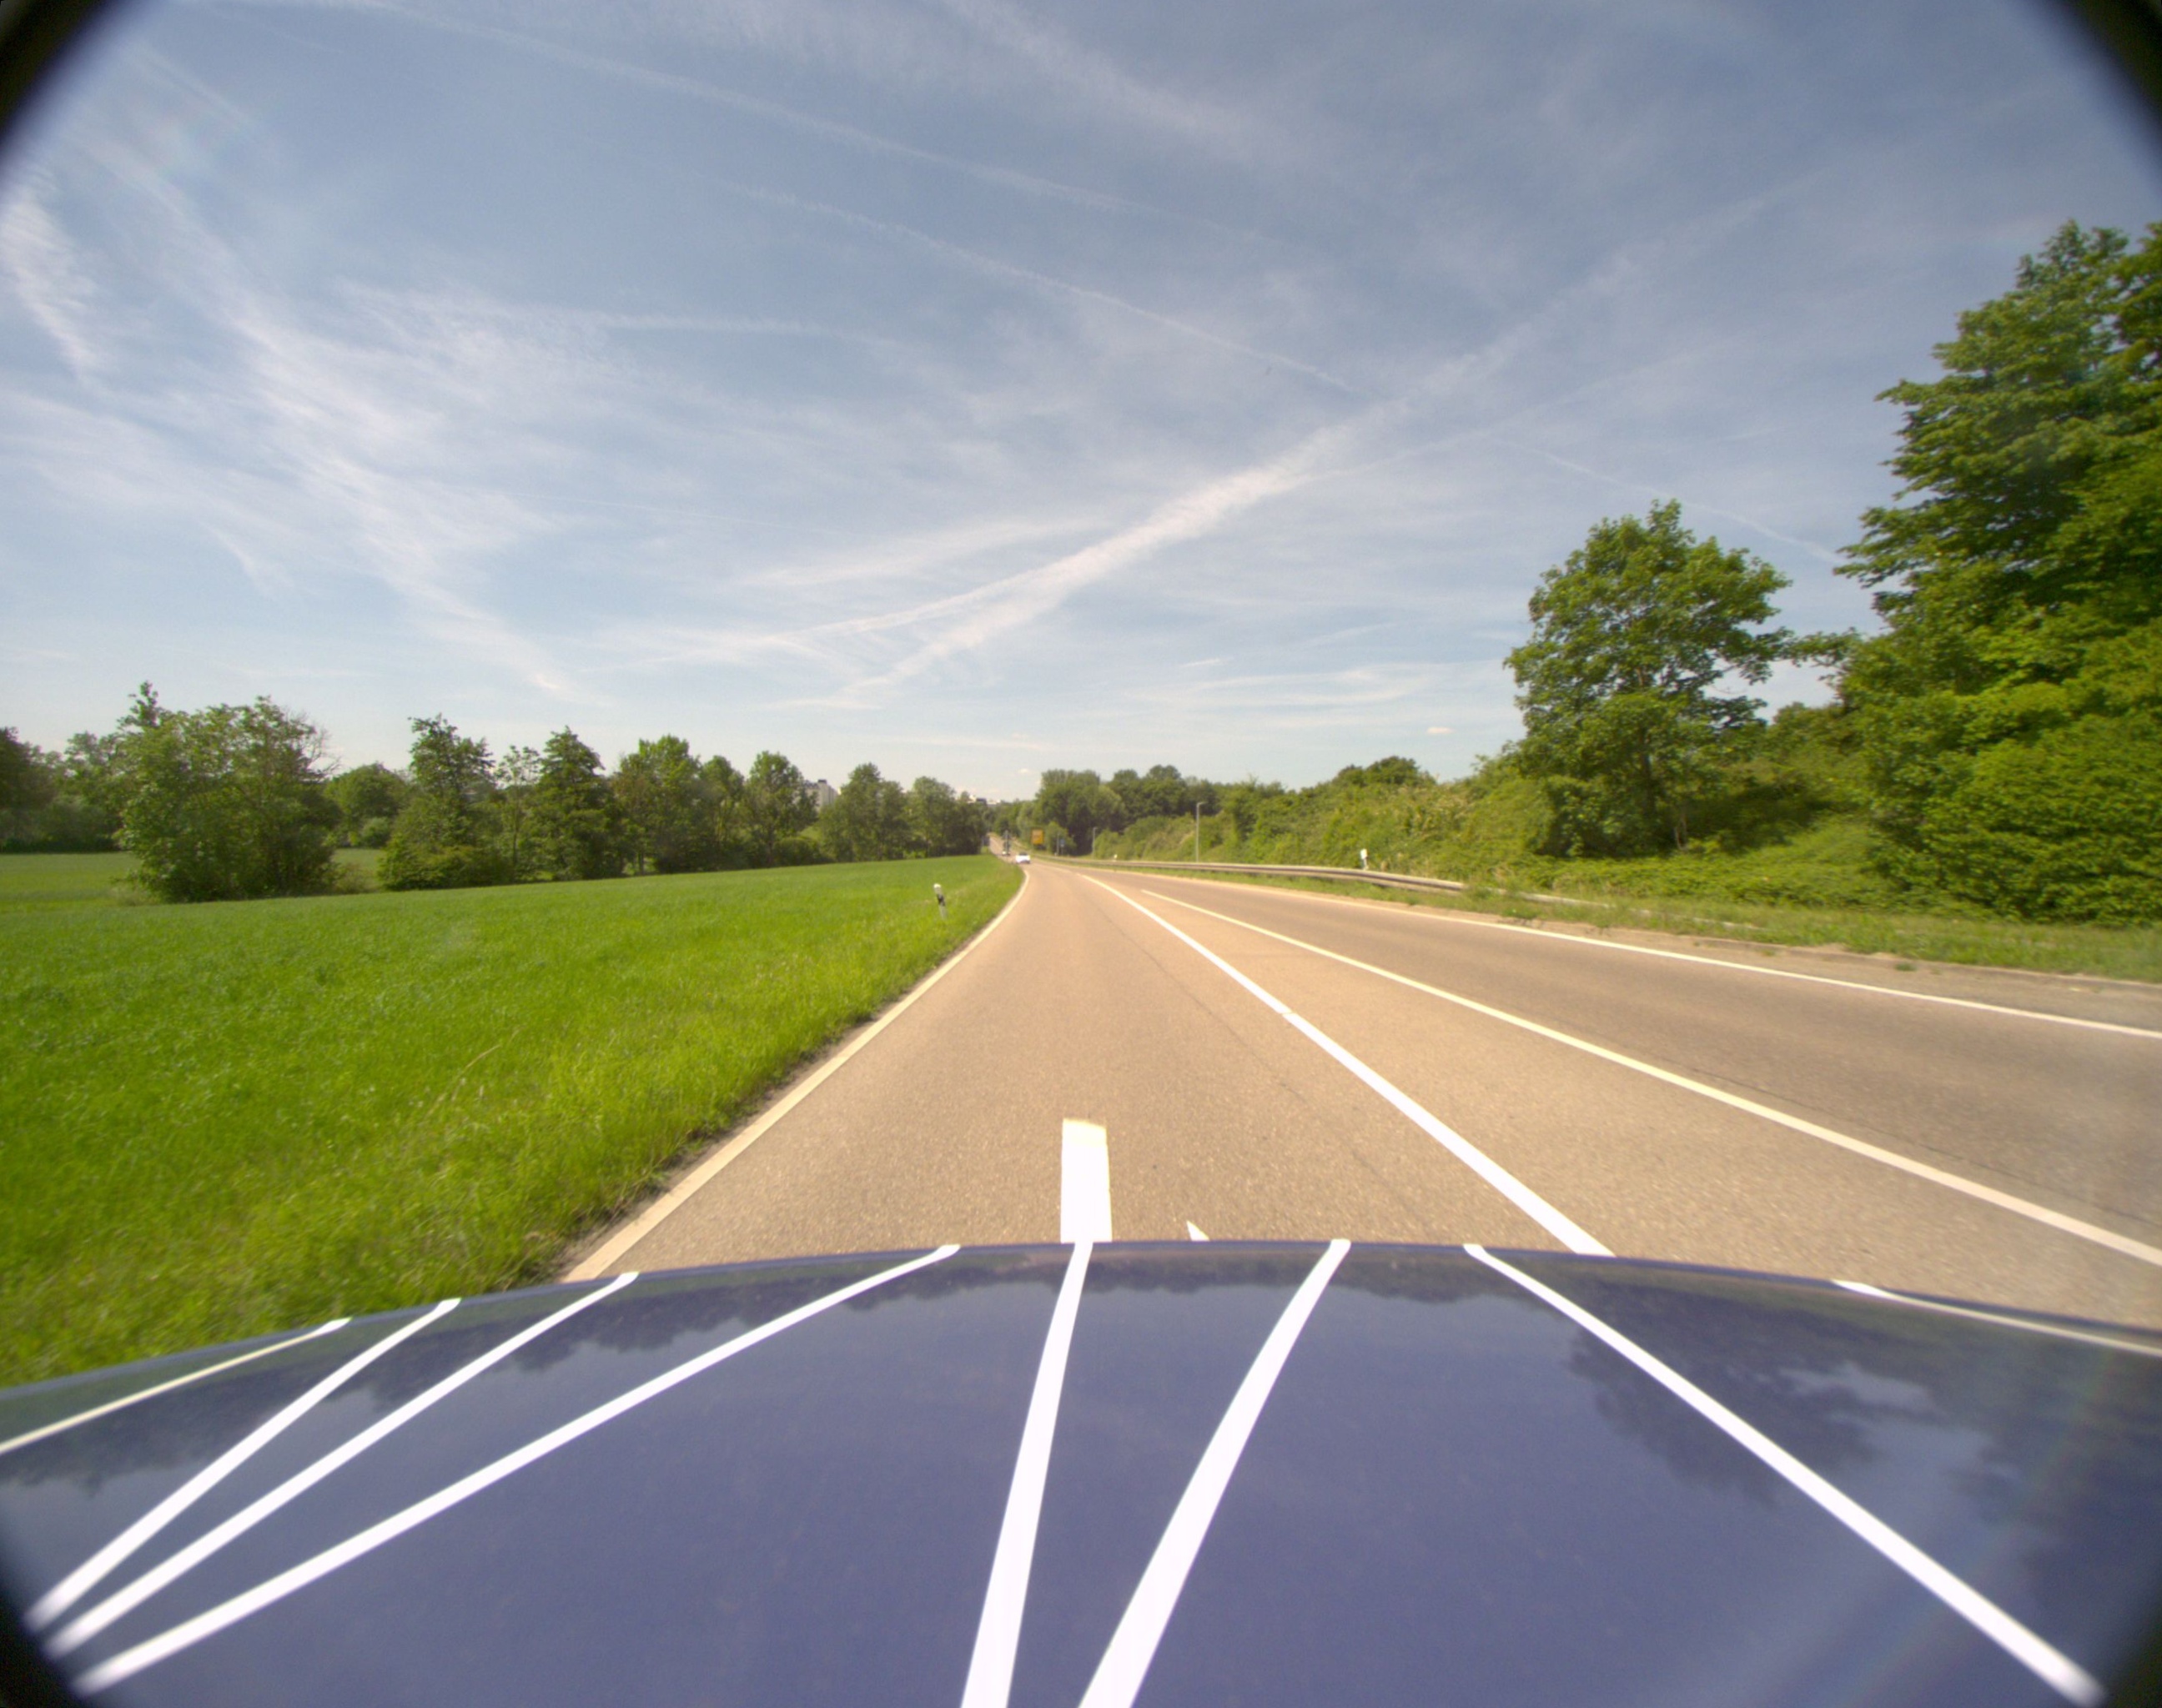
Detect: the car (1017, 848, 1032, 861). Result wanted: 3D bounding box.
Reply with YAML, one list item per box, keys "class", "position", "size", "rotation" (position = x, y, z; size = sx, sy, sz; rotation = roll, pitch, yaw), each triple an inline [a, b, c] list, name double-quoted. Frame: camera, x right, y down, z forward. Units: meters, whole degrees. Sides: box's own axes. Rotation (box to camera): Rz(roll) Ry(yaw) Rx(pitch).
- class: "car"
  position: [-7.526, 0.081, 101.281]
  size: [1.999, 1.576, 3.998]
  rotation: [-2, 1, -4]

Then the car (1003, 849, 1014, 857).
- class: "car"
  position: [-15.839, -0.278, 165.736]
  size: [2.000, 1.576, 3.996]
  rotation: [-2, 0, -9]
